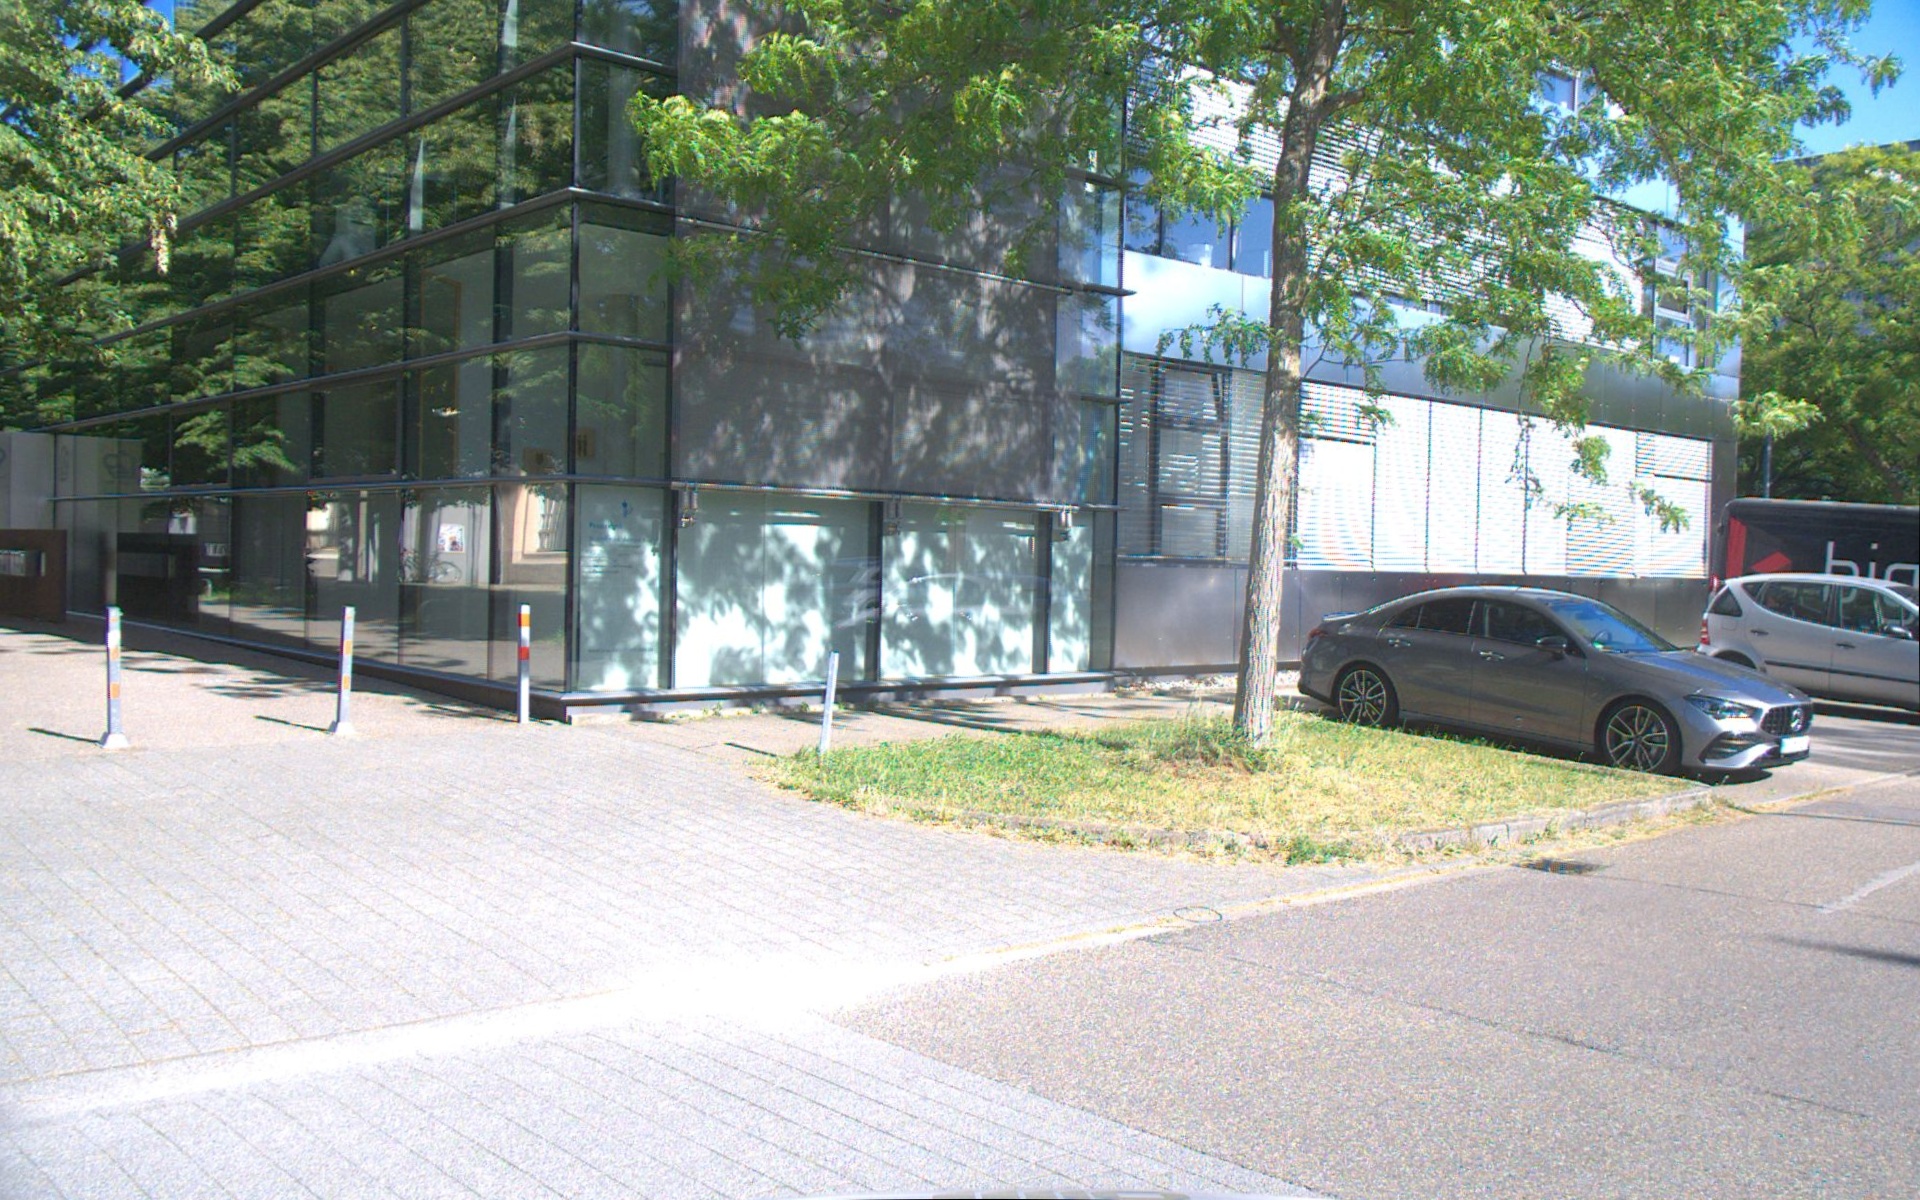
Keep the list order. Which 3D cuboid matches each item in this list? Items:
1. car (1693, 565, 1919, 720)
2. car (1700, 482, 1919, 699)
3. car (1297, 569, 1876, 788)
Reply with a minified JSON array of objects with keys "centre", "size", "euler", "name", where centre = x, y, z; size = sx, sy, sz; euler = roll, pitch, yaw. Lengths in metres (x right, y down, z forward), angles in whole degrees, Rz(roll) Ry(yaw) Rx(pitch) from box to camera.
[{"centre":[11.060,0.485,19.730],"size":[1.875,1.673,3.788],"euler":[0,2,-41],"name":"car"},{"centre":[12.890,-0.097,21.571],"size":[2.212,2.667,5.392],"euler":[0,4,-41],"name":"car"},{"centre":[5.444,0.564,14.883],"size":[1.875,1.373,4.484],"euler":[0,4,-41],"name":"car"}]
